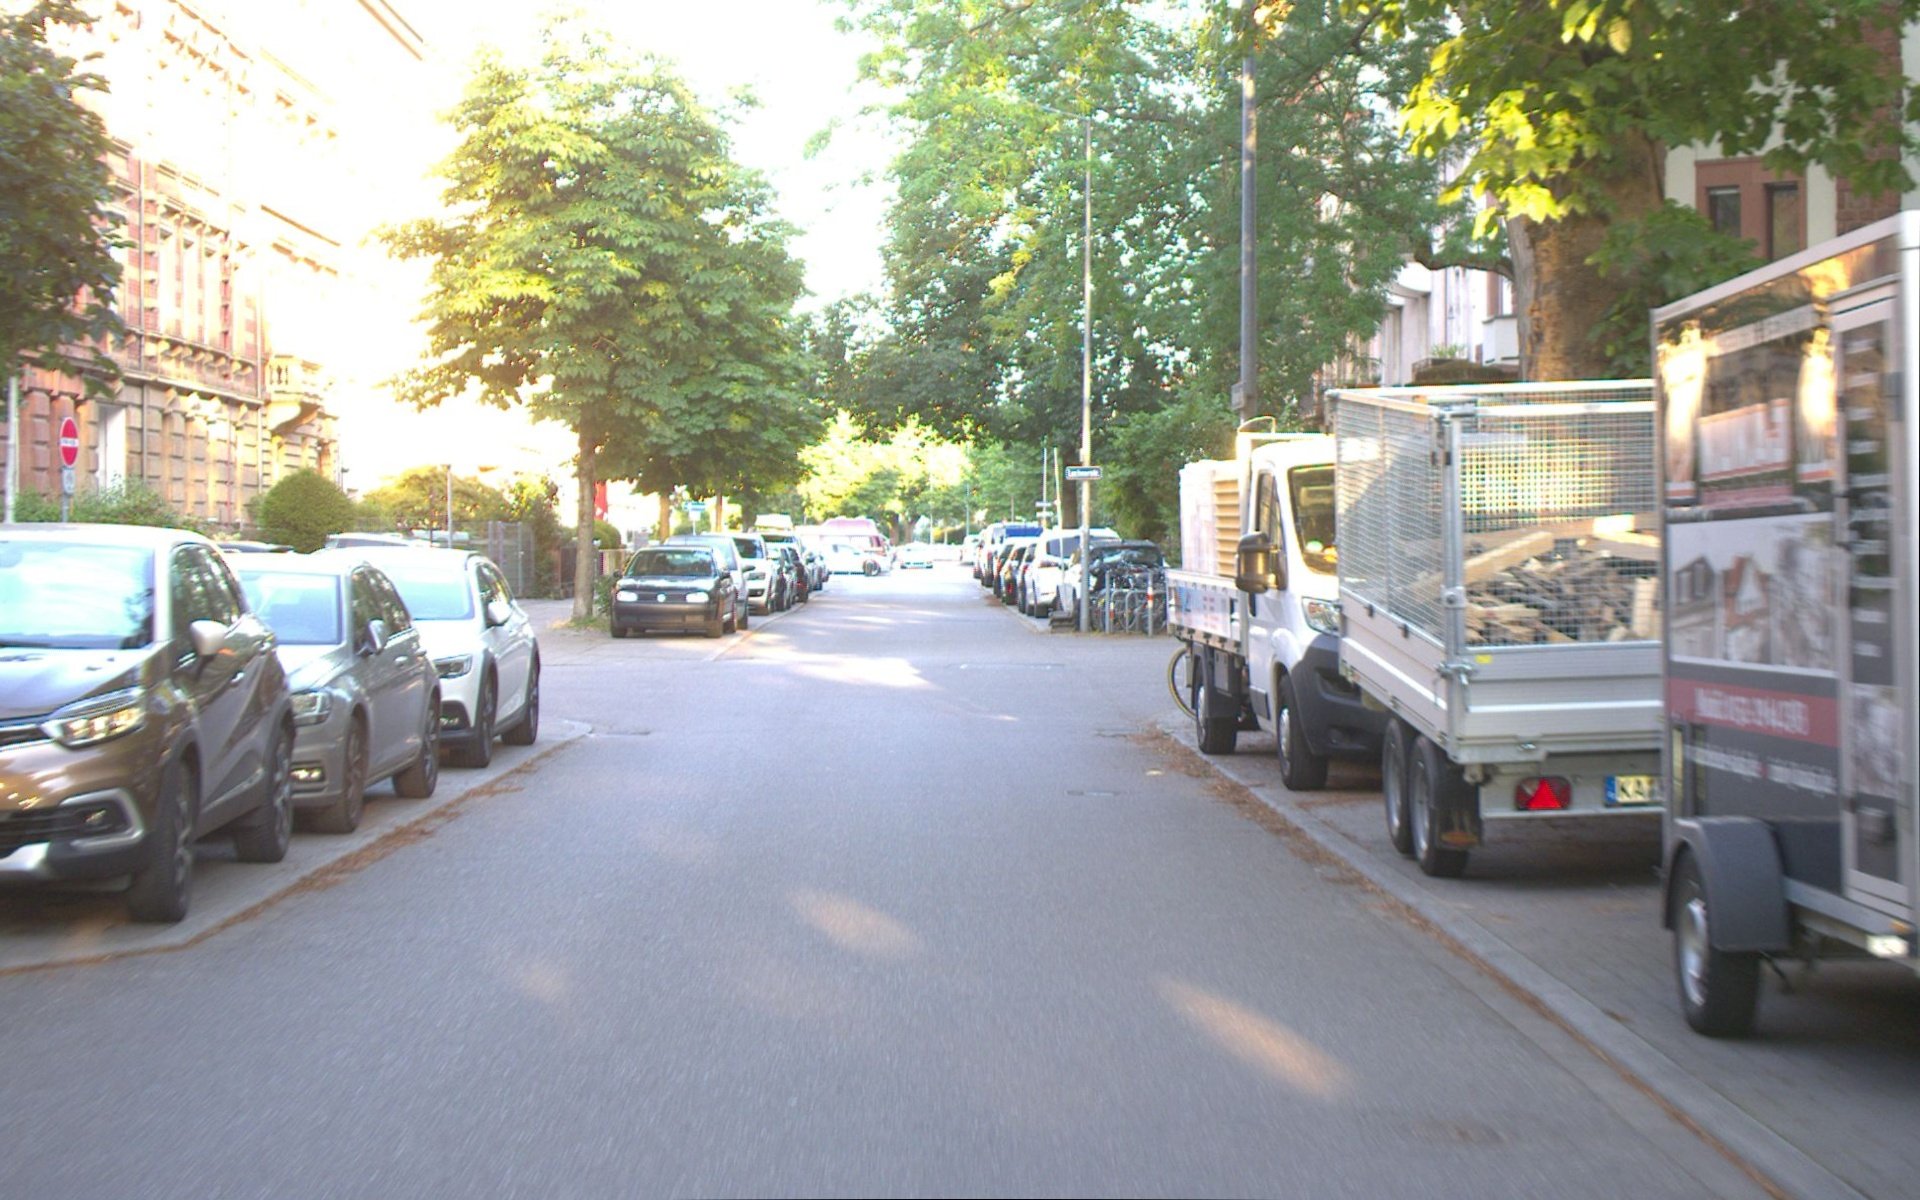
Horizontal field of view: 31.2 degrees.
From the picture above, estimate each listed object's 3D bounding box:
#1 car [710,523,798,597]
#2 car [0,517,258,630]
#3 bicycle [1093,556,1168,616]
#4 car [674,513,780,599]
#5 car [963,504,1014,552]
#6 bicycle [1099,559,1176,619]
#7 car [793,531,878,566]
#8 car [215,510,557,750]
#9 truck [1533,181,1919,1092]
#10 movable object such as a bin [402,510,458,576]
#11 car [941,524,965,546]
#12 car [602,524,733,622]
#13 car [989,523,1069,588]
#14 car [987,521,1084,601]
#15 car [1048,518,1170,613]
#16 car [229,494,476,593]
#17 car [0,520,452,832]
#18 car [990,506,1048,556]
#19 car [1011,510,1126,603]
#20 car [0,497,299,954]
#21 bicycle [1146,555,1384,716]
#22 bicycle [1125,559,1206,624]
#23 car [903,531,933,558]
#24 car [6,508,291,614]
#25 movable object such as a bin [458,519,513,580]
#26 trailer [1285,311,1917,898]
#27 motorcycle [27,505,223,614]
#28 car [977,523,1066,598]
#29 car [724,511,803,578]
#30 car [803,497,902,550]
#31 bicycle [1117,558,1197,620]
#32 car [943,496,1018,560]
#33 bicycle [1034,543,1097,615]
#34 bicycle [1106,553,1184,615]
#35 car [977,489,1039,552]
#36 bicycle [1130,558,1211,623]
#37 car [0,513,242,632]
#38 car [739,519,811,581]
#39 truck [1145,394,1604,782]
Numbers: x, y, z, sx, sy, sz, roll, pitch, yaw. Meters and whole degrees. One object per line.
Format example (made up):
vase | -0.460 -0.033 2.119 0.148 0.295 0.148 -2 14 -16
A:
car | -4.481 -0.866 75.195 1.715 1.561 3.781 0 1 -1
car | -11.833 -0.380 46.751 4.094 1.442 1.817 1 2 10
bicycle | 2.805 -0.230 56.514 1.224 0.948 0.330 -2 3 -28
car | -4.757 -0.933 70.769 1.921 1.711 4.428 0 1 -1
car | 1.072 -2.716 130.124 1.686 1.805 3.940 0 1 -3
bicycle | 2.894 -0.179 55.902 1.224 0.944 0.330 -1 2 -22
car | -5.430 -2.249 149.194 3.618 1.456 1.607 0 1 -4
car | -4.055 0.136 24.995 1.689 1.497 4.738 3 2 -1
truck | 3.239 -0.026 10.777 1.954 2.238 4.645 -3 2 -1
movable object such as a bin | -11.936 -1.283 77.397 1.096 1.409 1.005 2 2 -14
car | -0.537 -4.700 248.886 1.715 1.590 3.483 0 1 -1
car | -4.618 -0.460 54.770 1.616 1.465 3.961 0 1 2
car | 1.597 -1.053 81.035 1.686 1.436 4.210 -2 1 -1
car | 1.548 -0.825 71.746 1.686 1.600 4.210 0 1 -3
car | 2.566 -0.630 60.035 1.686 1.586 3.659 0 2 -5
car | -10.881 -1.018 61.740 4.092 1.522 1.709 3 1 -2
car | -3.968 0.346 19.092 1.689 1.497 4.403 1 1 -1
car | 1.804 -2.107 105.590 1.538 1.516 3.432 0 1 -3
car | 2.032 -0.832 65.820 1.798 1.705 4.602 0 1 -3
car | -3.929 0.375 14.325 1.689 1.558 4.403 2 2 -3
bicycle | 2.559 0.293 28.886 1.902 1.254 0.407 -2 1 -6
bicycle | 3.224 -0.138 53.890 1.224 0.983 0.330 -1 2 -2
car | -2.526 -3.345 206.708 1.813 1.590 3.483 0 1 -1
car | -11.614 -0.575 49.340 3.564 1.442 1.817 1 2 8
movable object such as a bin | -10.704 -1.154 77.573 1.013 1.316 1.005 2 2 4
trailer | 2.816 -0.042 16.222 1.954 2.287 4.645 -3 1 -1
motorcycle | -12.701 -0.624 52.329 2.853 1.633 0.675 0 1 8
car | 1.343 -0.878 76.113 1.686 1.600 3.749 0 1 -3
car | -4.693 -1.349 82.543 1.715 1.561 3.788 0 1 -1
car | -4.757 -3.374 151.893 4.349 2.310 1.746 0 1 -2
bicycle | 3.141 -0.179 54.801 1.224 0.960 0.330 -1 2 -17
car | 0.512 -1.852 89.065 1.686 1.600 3.940 0 1 -3
bicycle | 1.749 -0.355 56.730 0.444 1.169 1.634 1 1 24
bicycle | 2.973 -0.256 55.199 1.224 0.954 0.330 -1 2 -22
car | 1.516 -2.518 109.449 1.680 1.934 3.881 0 1 -3
bicycle | 3.316 -0.148 54.259 1.224 0.984 0.330 -1 2 -4
car | -11.555 -0.377 44.495 4.094 1.442 1.709 1 2 8
car | -4.884 -1.346 91.339 1.715 1.590 4.519 0 1 -1
truck | 2.586 -0.121 23.309 1.977 2.237 6.777 0 1 -3
